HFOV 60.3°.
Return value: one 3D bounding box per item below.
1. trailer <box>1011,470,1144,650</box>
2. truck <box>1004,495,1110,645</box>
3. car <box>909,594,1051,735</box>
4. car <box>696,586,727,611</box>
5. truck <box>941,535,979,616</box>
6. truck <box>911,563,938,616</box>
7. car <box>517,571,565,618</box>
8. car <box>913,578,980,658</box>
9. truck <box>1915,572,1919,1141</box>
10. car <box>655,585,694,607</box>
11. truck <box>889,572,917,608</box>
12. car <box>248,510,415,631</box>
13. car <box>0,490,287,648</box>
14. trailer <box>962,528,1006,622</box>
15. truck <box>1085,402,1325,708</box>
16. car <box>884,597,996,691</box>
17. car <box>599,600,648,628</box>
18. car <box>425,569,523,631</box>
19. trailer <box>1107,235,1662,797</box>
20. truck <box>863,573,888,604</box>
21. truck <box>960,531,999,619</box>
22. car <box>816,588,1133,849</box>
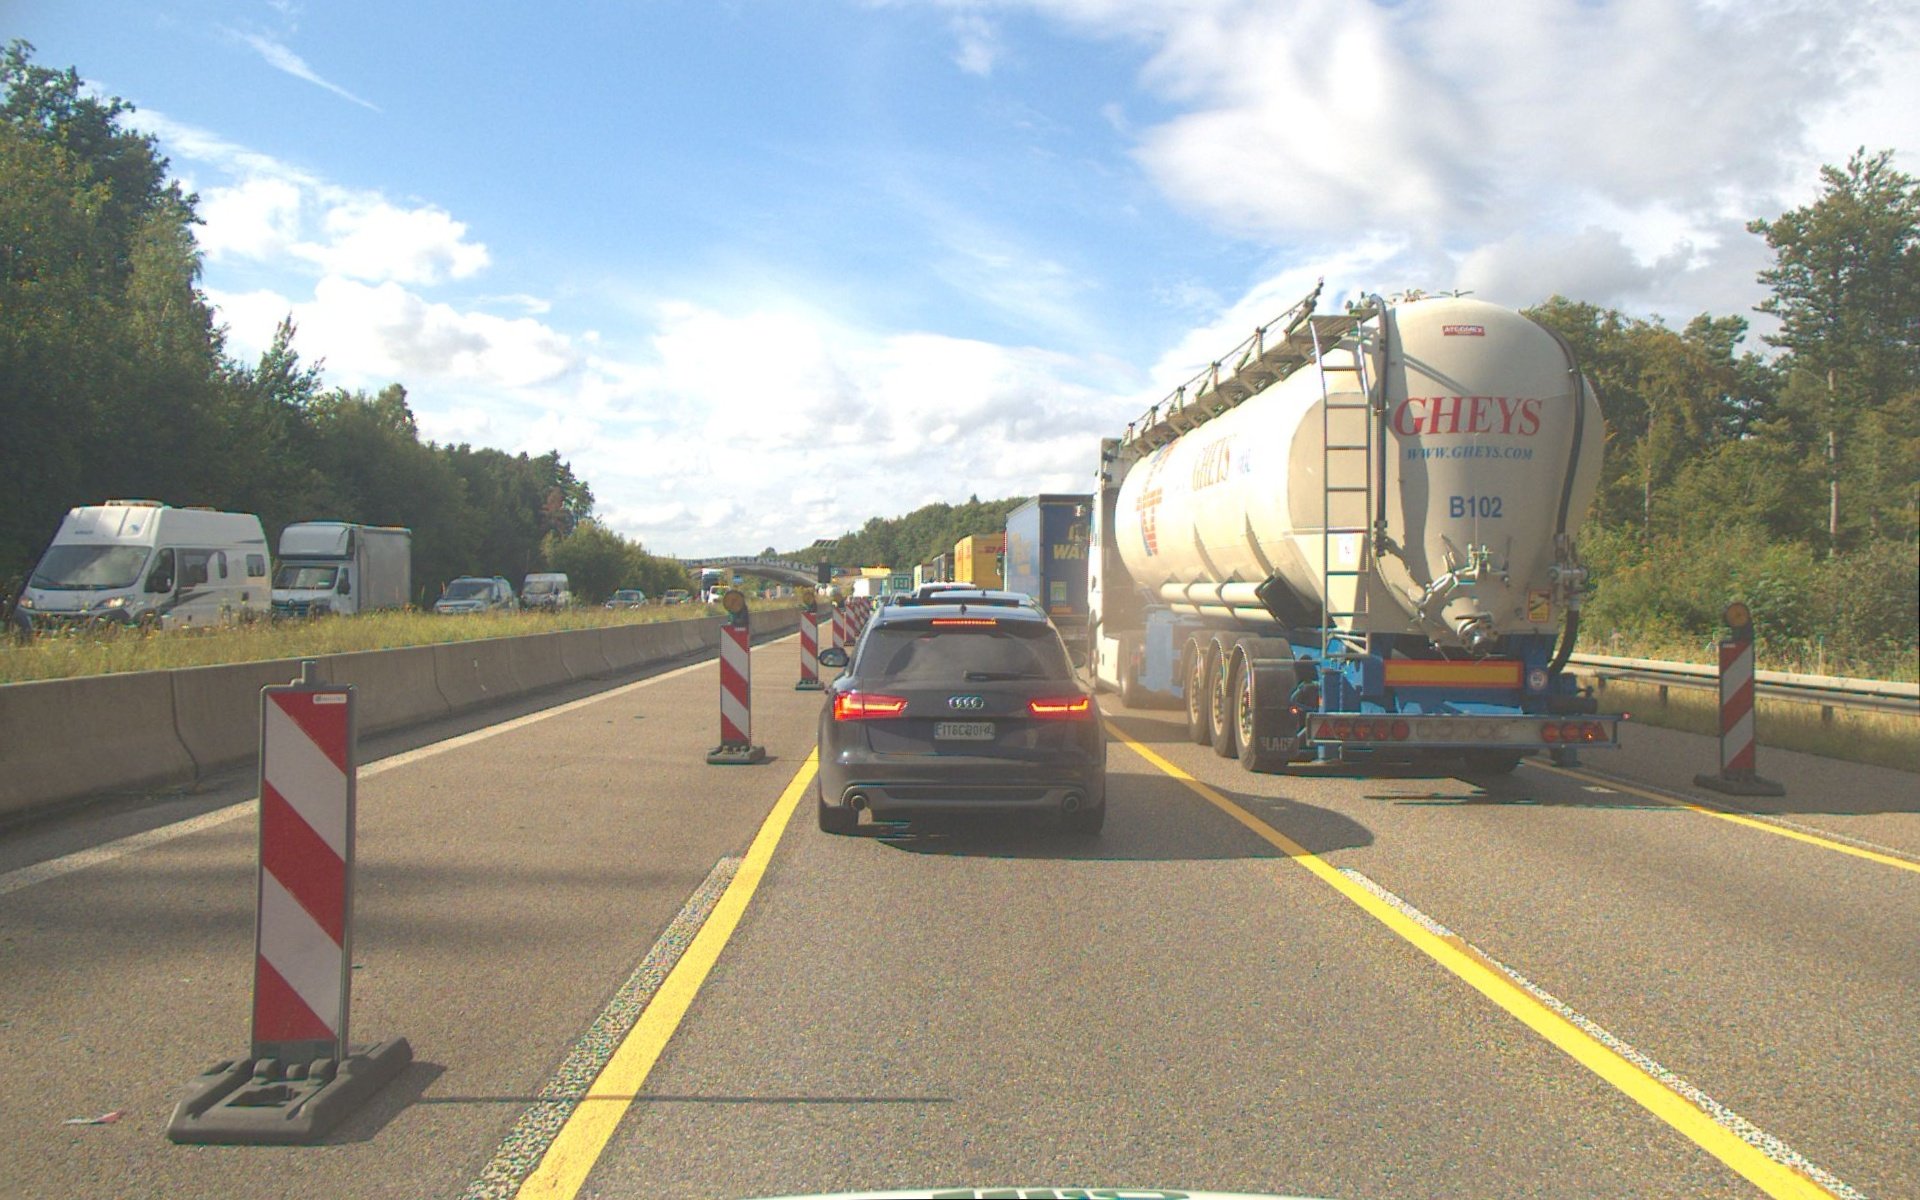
[{"bbox_3d":[3.145,-0.991,47.057,2.748,4.490,10.429,1,0,-1],"label":"trailer"},{"bbox_3d":[3.004,-0.867,53.457,2.749,4.446,7.789,1,0,-1],"label":"truck"},{"bbox_3d":[0.183,0.693,19.206,1.493,1.464,3.284,1,0,-1],"label":"car"},{"bbox_3d":[-20.924,-0.126,139.552,1.953,2.049,4.830,1,0,-1],"label":"car"},{"bbox_3d":[-0.050,-1.565,107.387,1.953,5.000,9.557,1,0,-2],"label":"truck"},{"bbox_3d":[-3.014,-0.861,140.323,2.094,4.332,7.069,1,0,-1],"label":"truck"},{"bbox_3d":[-25.340,-0.321,100.168,2.208,2.689,5.010,1,0,-8],"label":"car"},{"bbox_3d":[-0.349,0.433,40.611,1.549,1.869,3.111,1,0,-1],"label":"car"},{"bbox_3d":[3.995,-0.528,1.673,2.614,4.029,5.708,1,0,-2],"label":"truck"},{"bbox_3d":[-19.232,-0.262,111.423,1.918,1.386,4.287,1,0,-1],"label":"car"},{"bbox_3d":[-7.001,-1.181,202.821,3.238,4.248,9.696,1,0,-3],"label":"truck"},{"bbox_3d":[-19.250,-0.836,51.167,2.436,3.429,7.449,1,0,-2],"label":"car"},{"bbox_3d":[-14.433,-0.484,29.738,2.116,2.494,6.330,1,0,-1],"label":"car"},{"bbox_3d":[1.010,-1.047,73.383,1.584,3.987,6.486,1,0,-2],"label":"trailer"},{"bbox_3d":[3.501,-0.589,25.010,2.605,4.041,5.777,1,0,-1],"label":"truck"},{"bbox_3d":[-0.346,0.692,27.538,1.716,1.421,3.607,1,0,-1],"label":"car"},{"bbox_3d":[-17.591,0.733,86.678,1.743,1.411,4.309,1,0,-1],"label":"car"},{"bbox_3d":[-15.354,0.020,52.417,1.905,1.844,4.118,1,0,-1],"label":"car"},{"bbox_3d":[3.637,-0.605,18.261,2.590,4.012,12.594,1,0,-1],"label":"trailer"},{"bbox_3d":[-11.983,-1.659,233.236,3.239,4.248,9.694,1,0,-4],"label":"truck"},{"bbox_3d":[0.884,-1.110,77.205,1.577,3.965,4.070,1,0,-2],"label":"truck"},{"bbox_3d":[0.049,0.693,11.508,1.811,1.489,3.999,1,0,-1],"label":"car"}]
